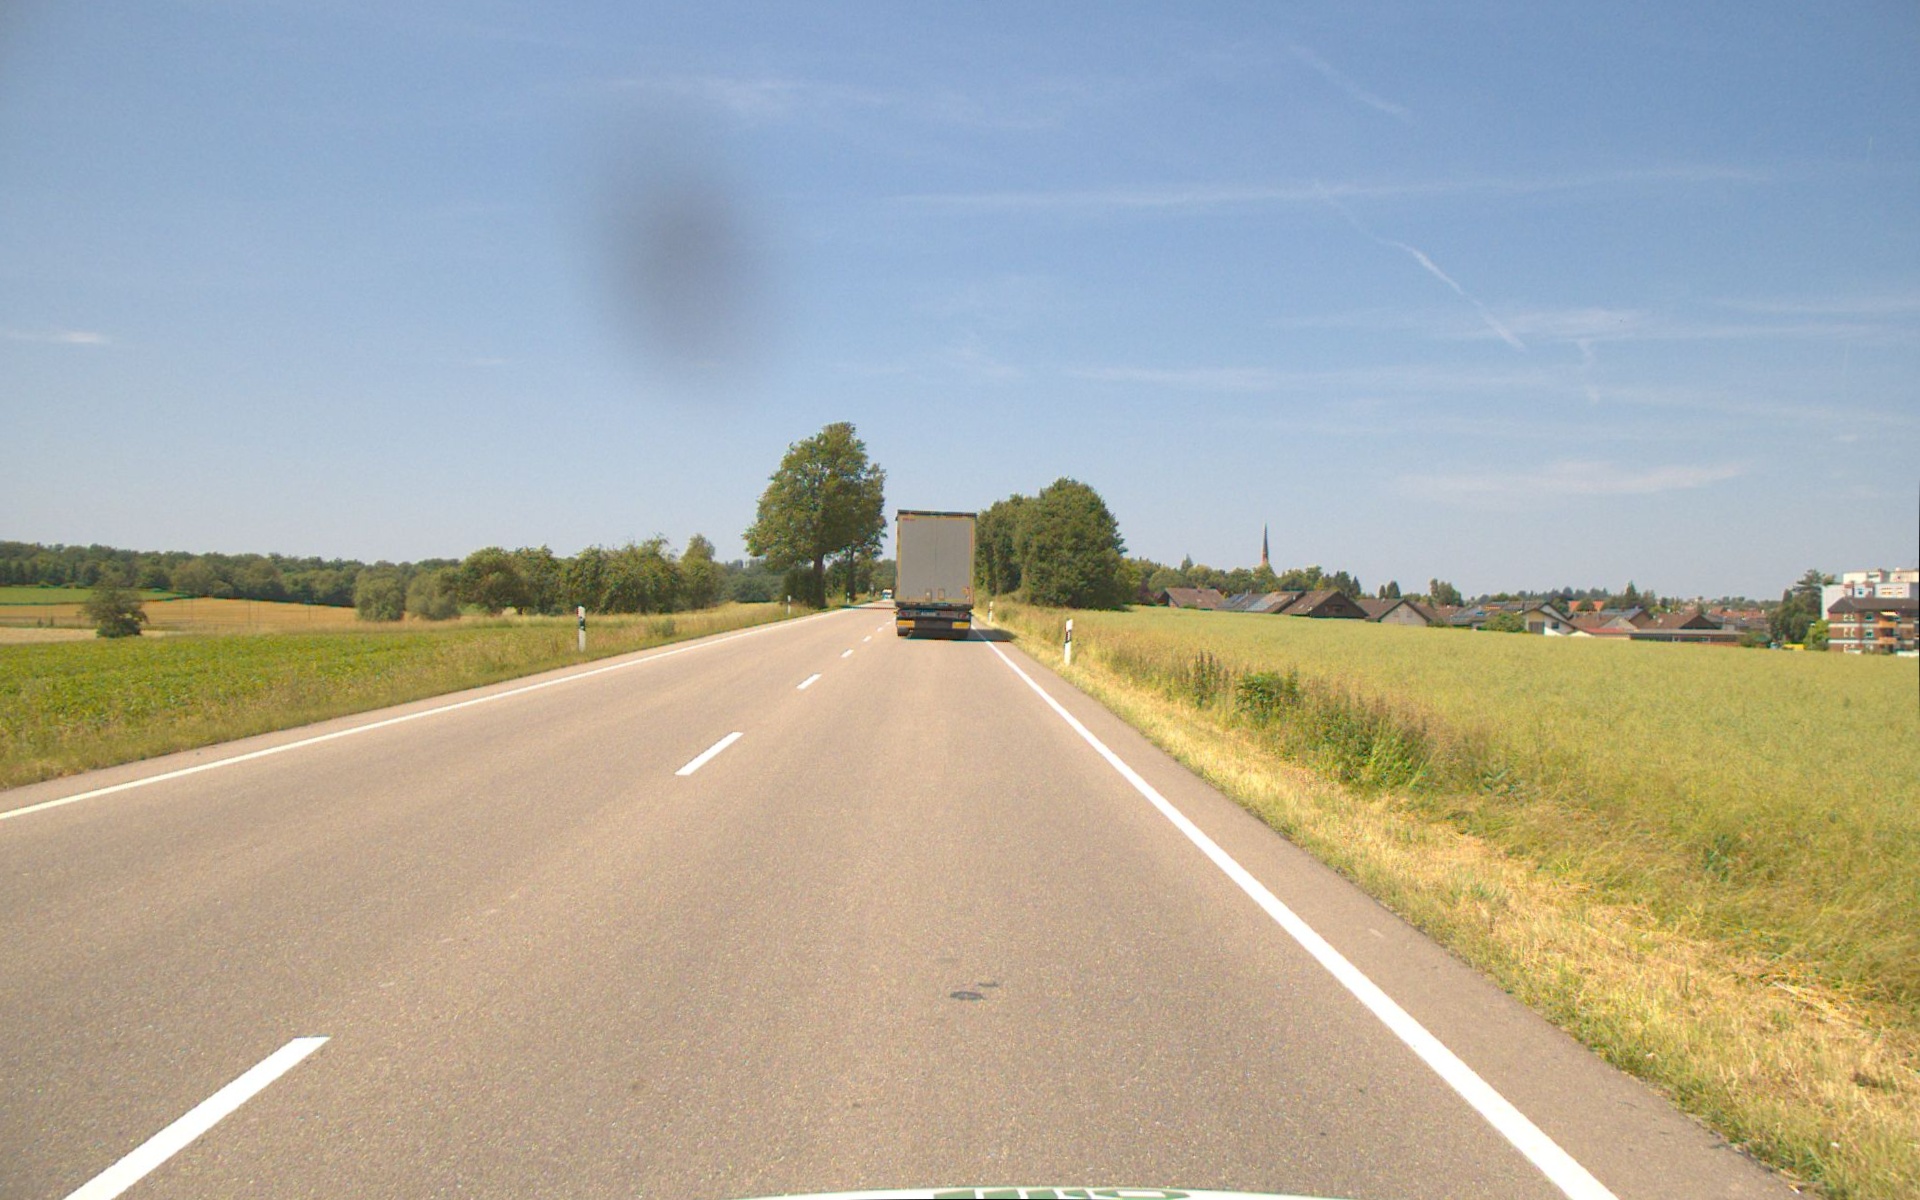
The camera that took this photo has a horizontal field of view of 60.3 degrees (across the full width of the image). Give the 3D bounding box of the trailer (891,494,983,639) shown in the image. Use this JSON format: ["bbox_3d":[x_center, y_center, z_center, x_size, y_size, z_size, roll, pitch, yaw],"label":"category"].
[{"bbox_3d":[-0.892,-1.091,58.515,2.809,4.477,13.488,1,0,-2],"label":"trailer"}]
